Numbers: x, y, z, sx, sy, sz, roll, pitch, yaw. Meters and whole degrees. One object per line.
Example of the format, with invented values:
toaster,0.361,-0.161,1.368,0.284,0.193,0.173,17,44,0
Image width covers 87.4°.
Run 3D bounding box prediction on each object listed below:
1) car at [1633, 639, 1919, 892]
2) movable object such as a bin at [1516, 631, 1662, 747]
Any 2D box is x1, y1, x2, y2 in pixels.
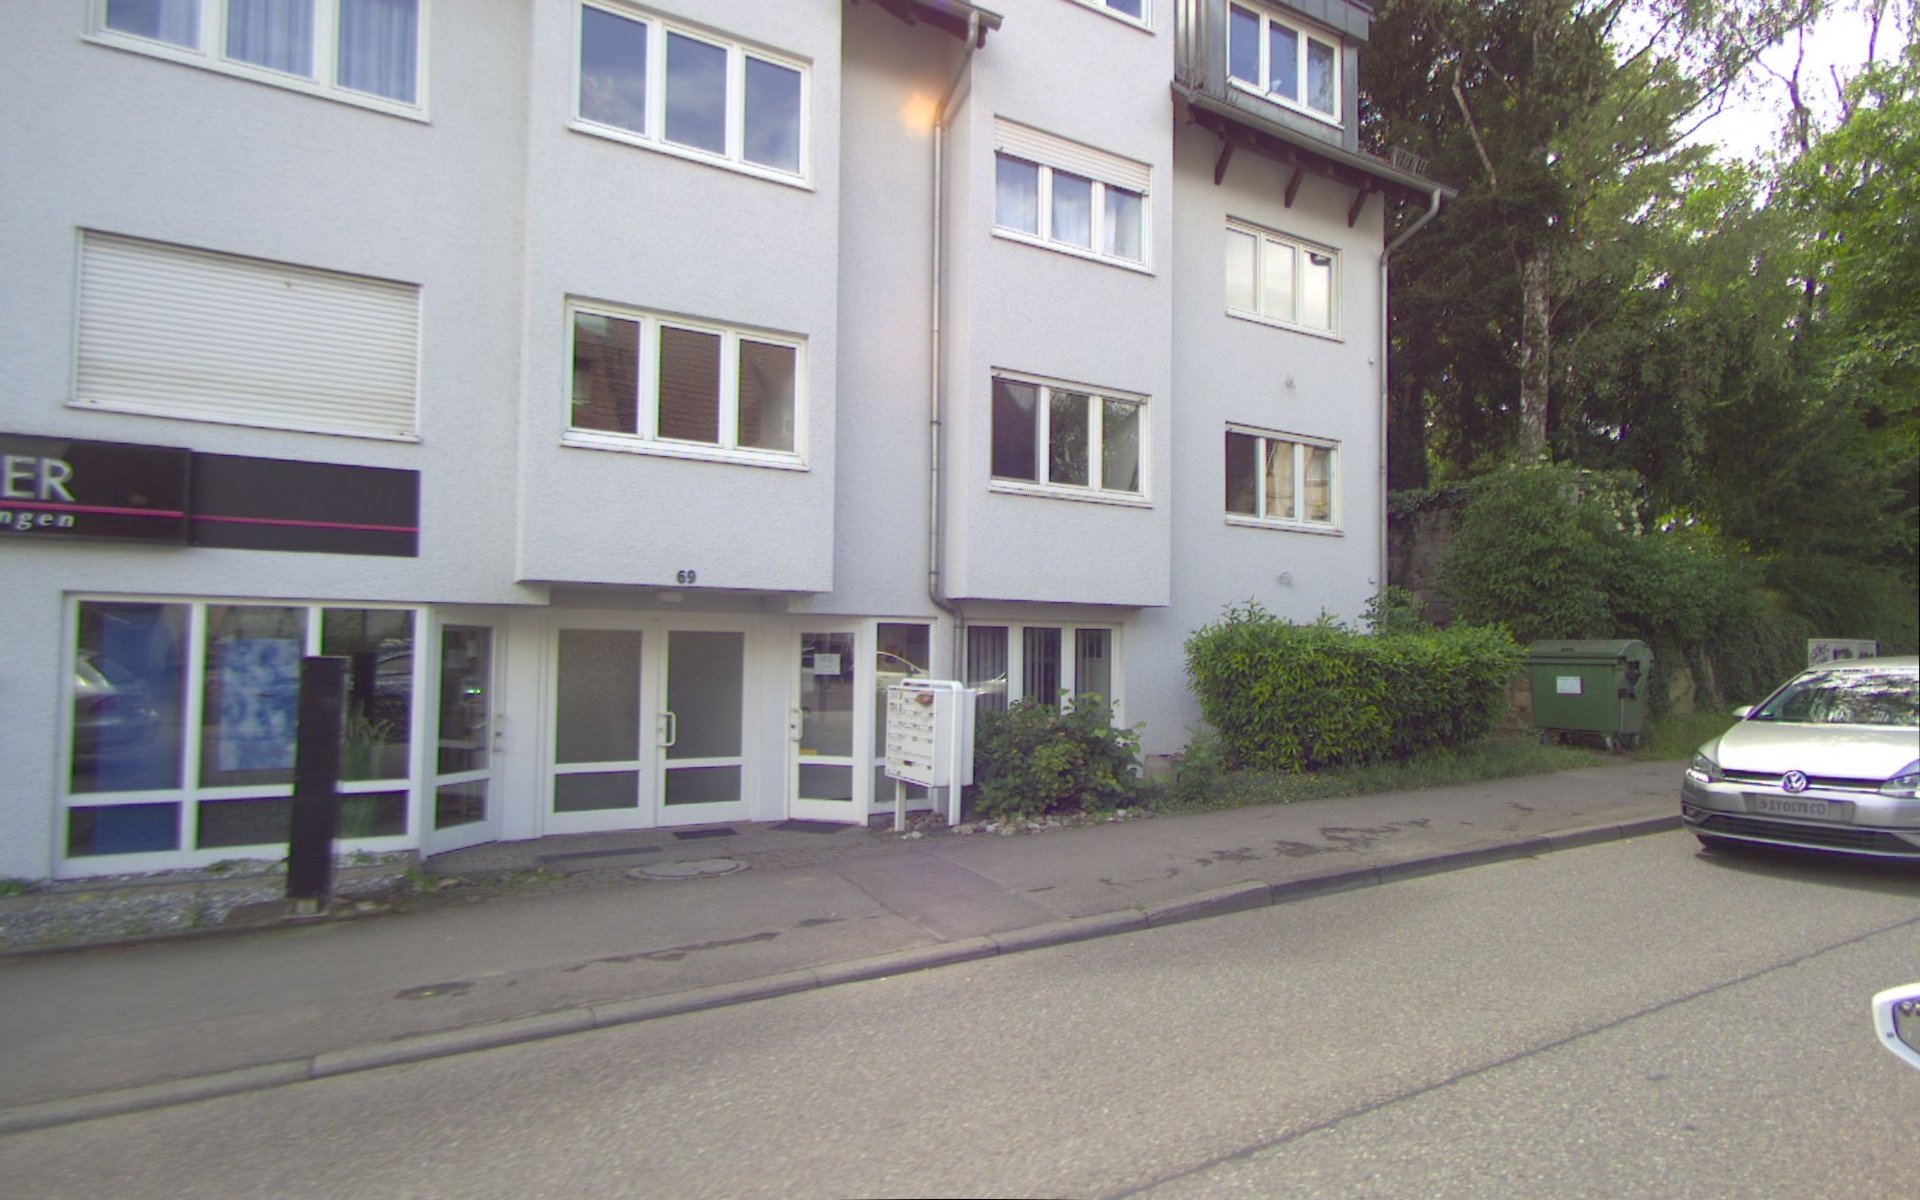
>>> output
car,7.144,1.082,7.537,4.235,1.474,1.703,2,-5,-29
movable object such as a bin,8.456,1.157,13.520,1.202,1.446,1.321,2,-2,-35
